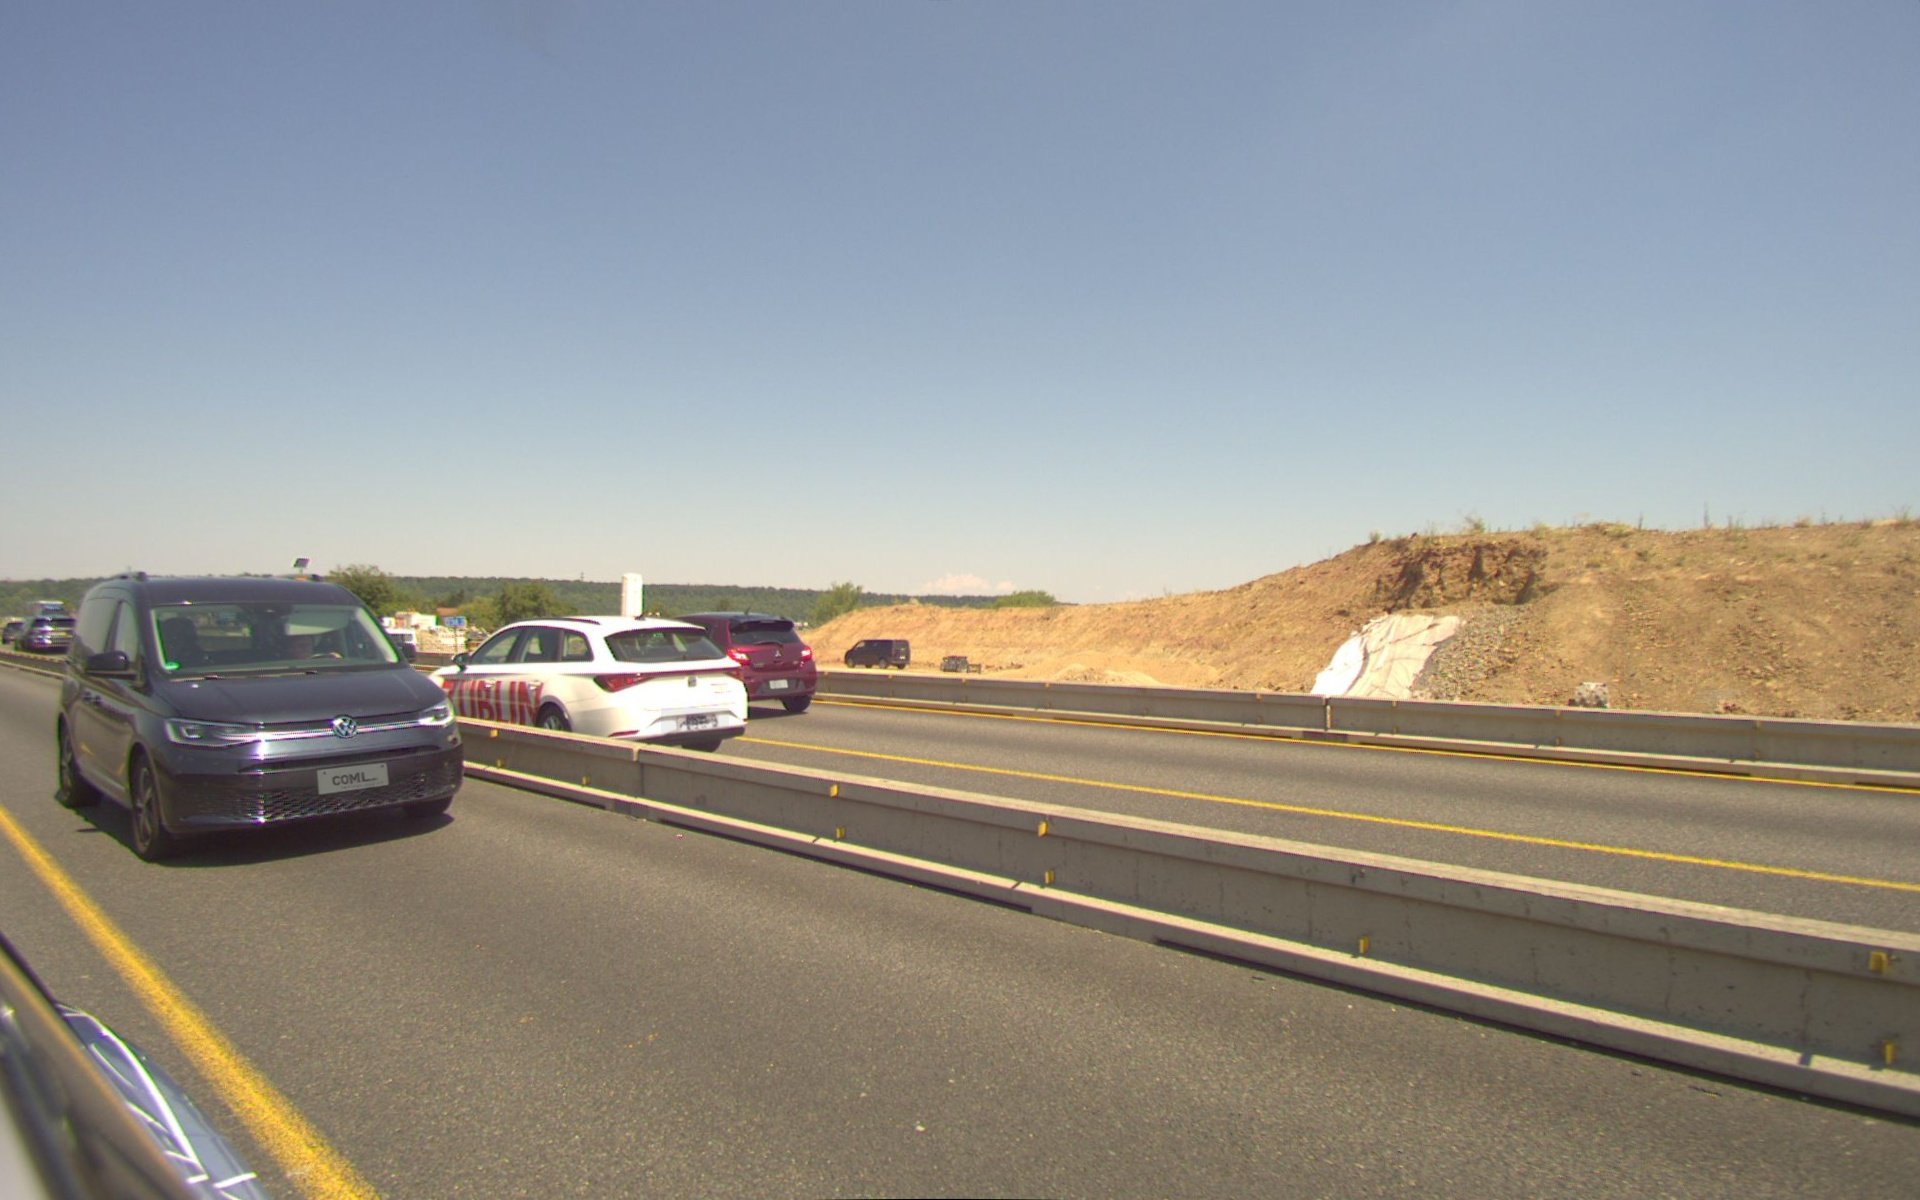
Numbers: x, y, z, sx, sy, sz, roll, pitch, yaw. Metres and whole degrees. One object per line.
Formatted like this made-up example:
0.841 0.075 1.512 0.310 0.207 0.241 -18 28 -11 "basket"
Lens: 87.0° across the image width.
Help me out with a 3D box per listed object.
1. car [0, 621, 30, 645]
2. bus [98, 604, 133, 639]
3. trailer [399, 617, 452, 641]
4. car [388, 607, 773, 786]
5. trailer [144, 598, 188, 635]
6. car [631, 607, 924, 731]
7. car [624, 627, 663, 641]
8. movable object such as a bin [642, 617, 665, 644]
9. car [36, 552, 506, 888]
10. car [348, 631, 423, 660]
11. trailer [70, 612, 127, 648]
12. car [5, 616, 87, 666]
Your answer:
-64.577 2.212 69.022 1.674 1.591 4.138 1 -2 -43 "car"
-78.632 2.025 94.180 2.320 3.149 7.239 1 -2 -41 "bus"
-69.980 3.791 132.567 2.881 3.020 5.507 -1 -2 40 "trailer"
-4.061 0.844 10.393 4.668 1.453 1.661 -1 -2 40 "car"
-93.446 2.033 119.258 2.722 4.146 14.016 1 -2 -33 "trailer"
-2.689 0.880 14.255 4.391 1.490 1.707 -1 -2 41 "car"
-32.085 3.441 102.478 4.442 1.420 1.595 -1 -2 39 "car"
-36.998 3.620 122.100 1.965 3.165 4.500 0 -2 -24 "movable object such as a bin"
-5.431 0.677 7.697 4.602 1.803 1.901 -1 -1 42 "car"
-30.370 2.393 53.556 1.537 1.466 3.177 -1 -2 22 "car"
-50.824 1.792 59.669 5.237 1.997 2.106 -2 -3 45 "trailer"
-34.513 1.506 38.178 5.037 1.755 1.753 -2 -2 42 "car"
